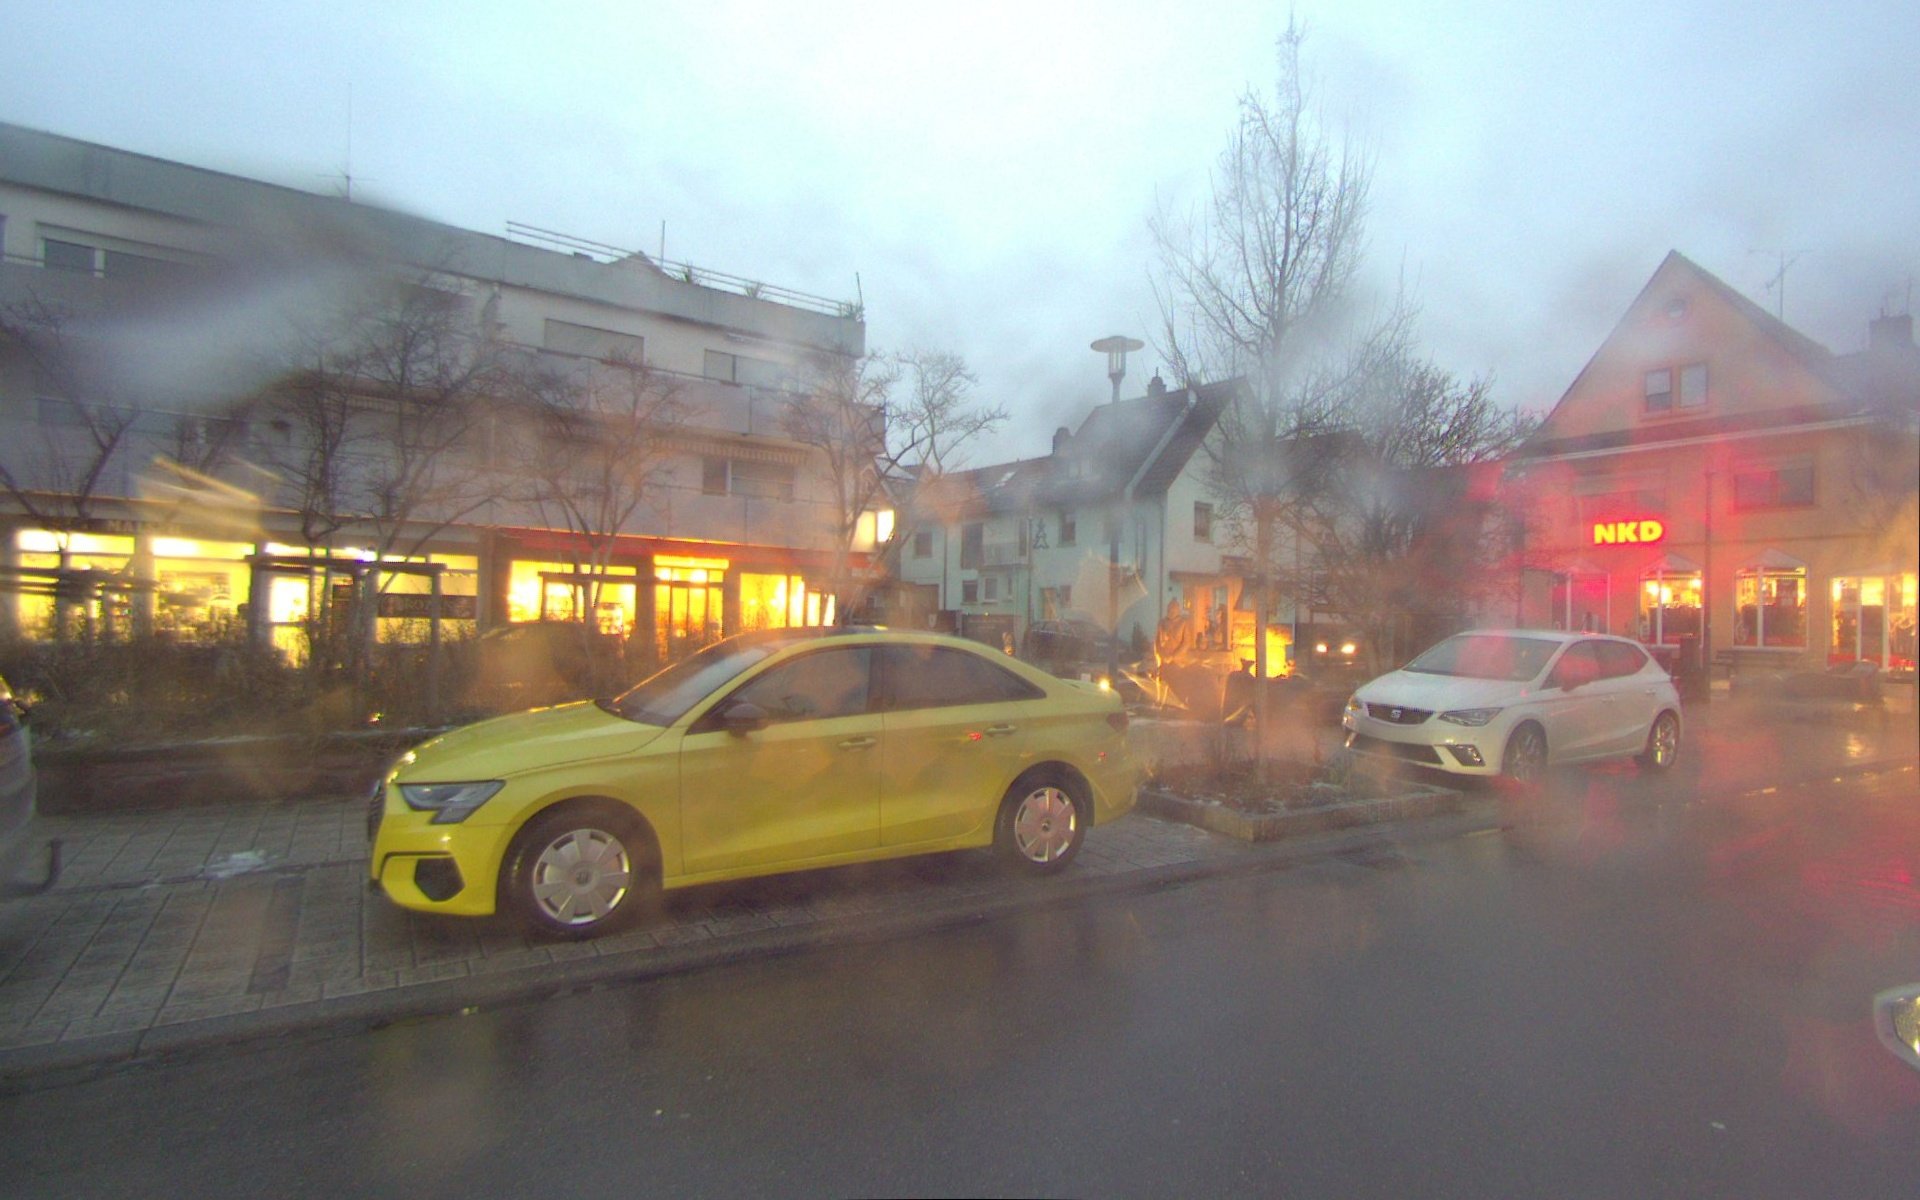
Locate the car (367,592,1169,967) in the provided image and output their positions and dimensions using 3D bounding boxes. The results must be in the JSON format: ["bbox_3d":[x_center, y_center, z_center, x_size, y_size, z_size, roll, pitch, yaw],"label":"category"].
[{"bbox_3d":[-0.993,0.792,5.989,4.289,1.536,1.741,2,0,-29],"label":"car"}]

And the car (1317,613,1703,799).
[{"bbox_3d":[5.694,0.962,10.299,3.953,1.536,1.661,2,1,-30],"label":"car"}]

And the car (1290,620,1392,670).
[{"bbox_3d":[14.368,1.660,37.803,3.967,1.743,1.834,2,-1,-40],"label":"car"}]

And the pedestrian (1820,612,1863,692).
[{"bbox_3d":[19.648,1.147,22.388,0.677,1.765,0.584,1,-1,-35],"label":"pedestrian"}]

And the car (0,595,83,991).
[{"bbox_3d":[-5.634,0.721,3.427,3.733,1.536,1.682,1,0,-33],"label":"car"}]

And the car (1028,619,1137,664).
[{"bbox_3d":[4.468,1.491,36.968,1.604,1.539,3.854,2,-1,-43],"label":"car"}]
